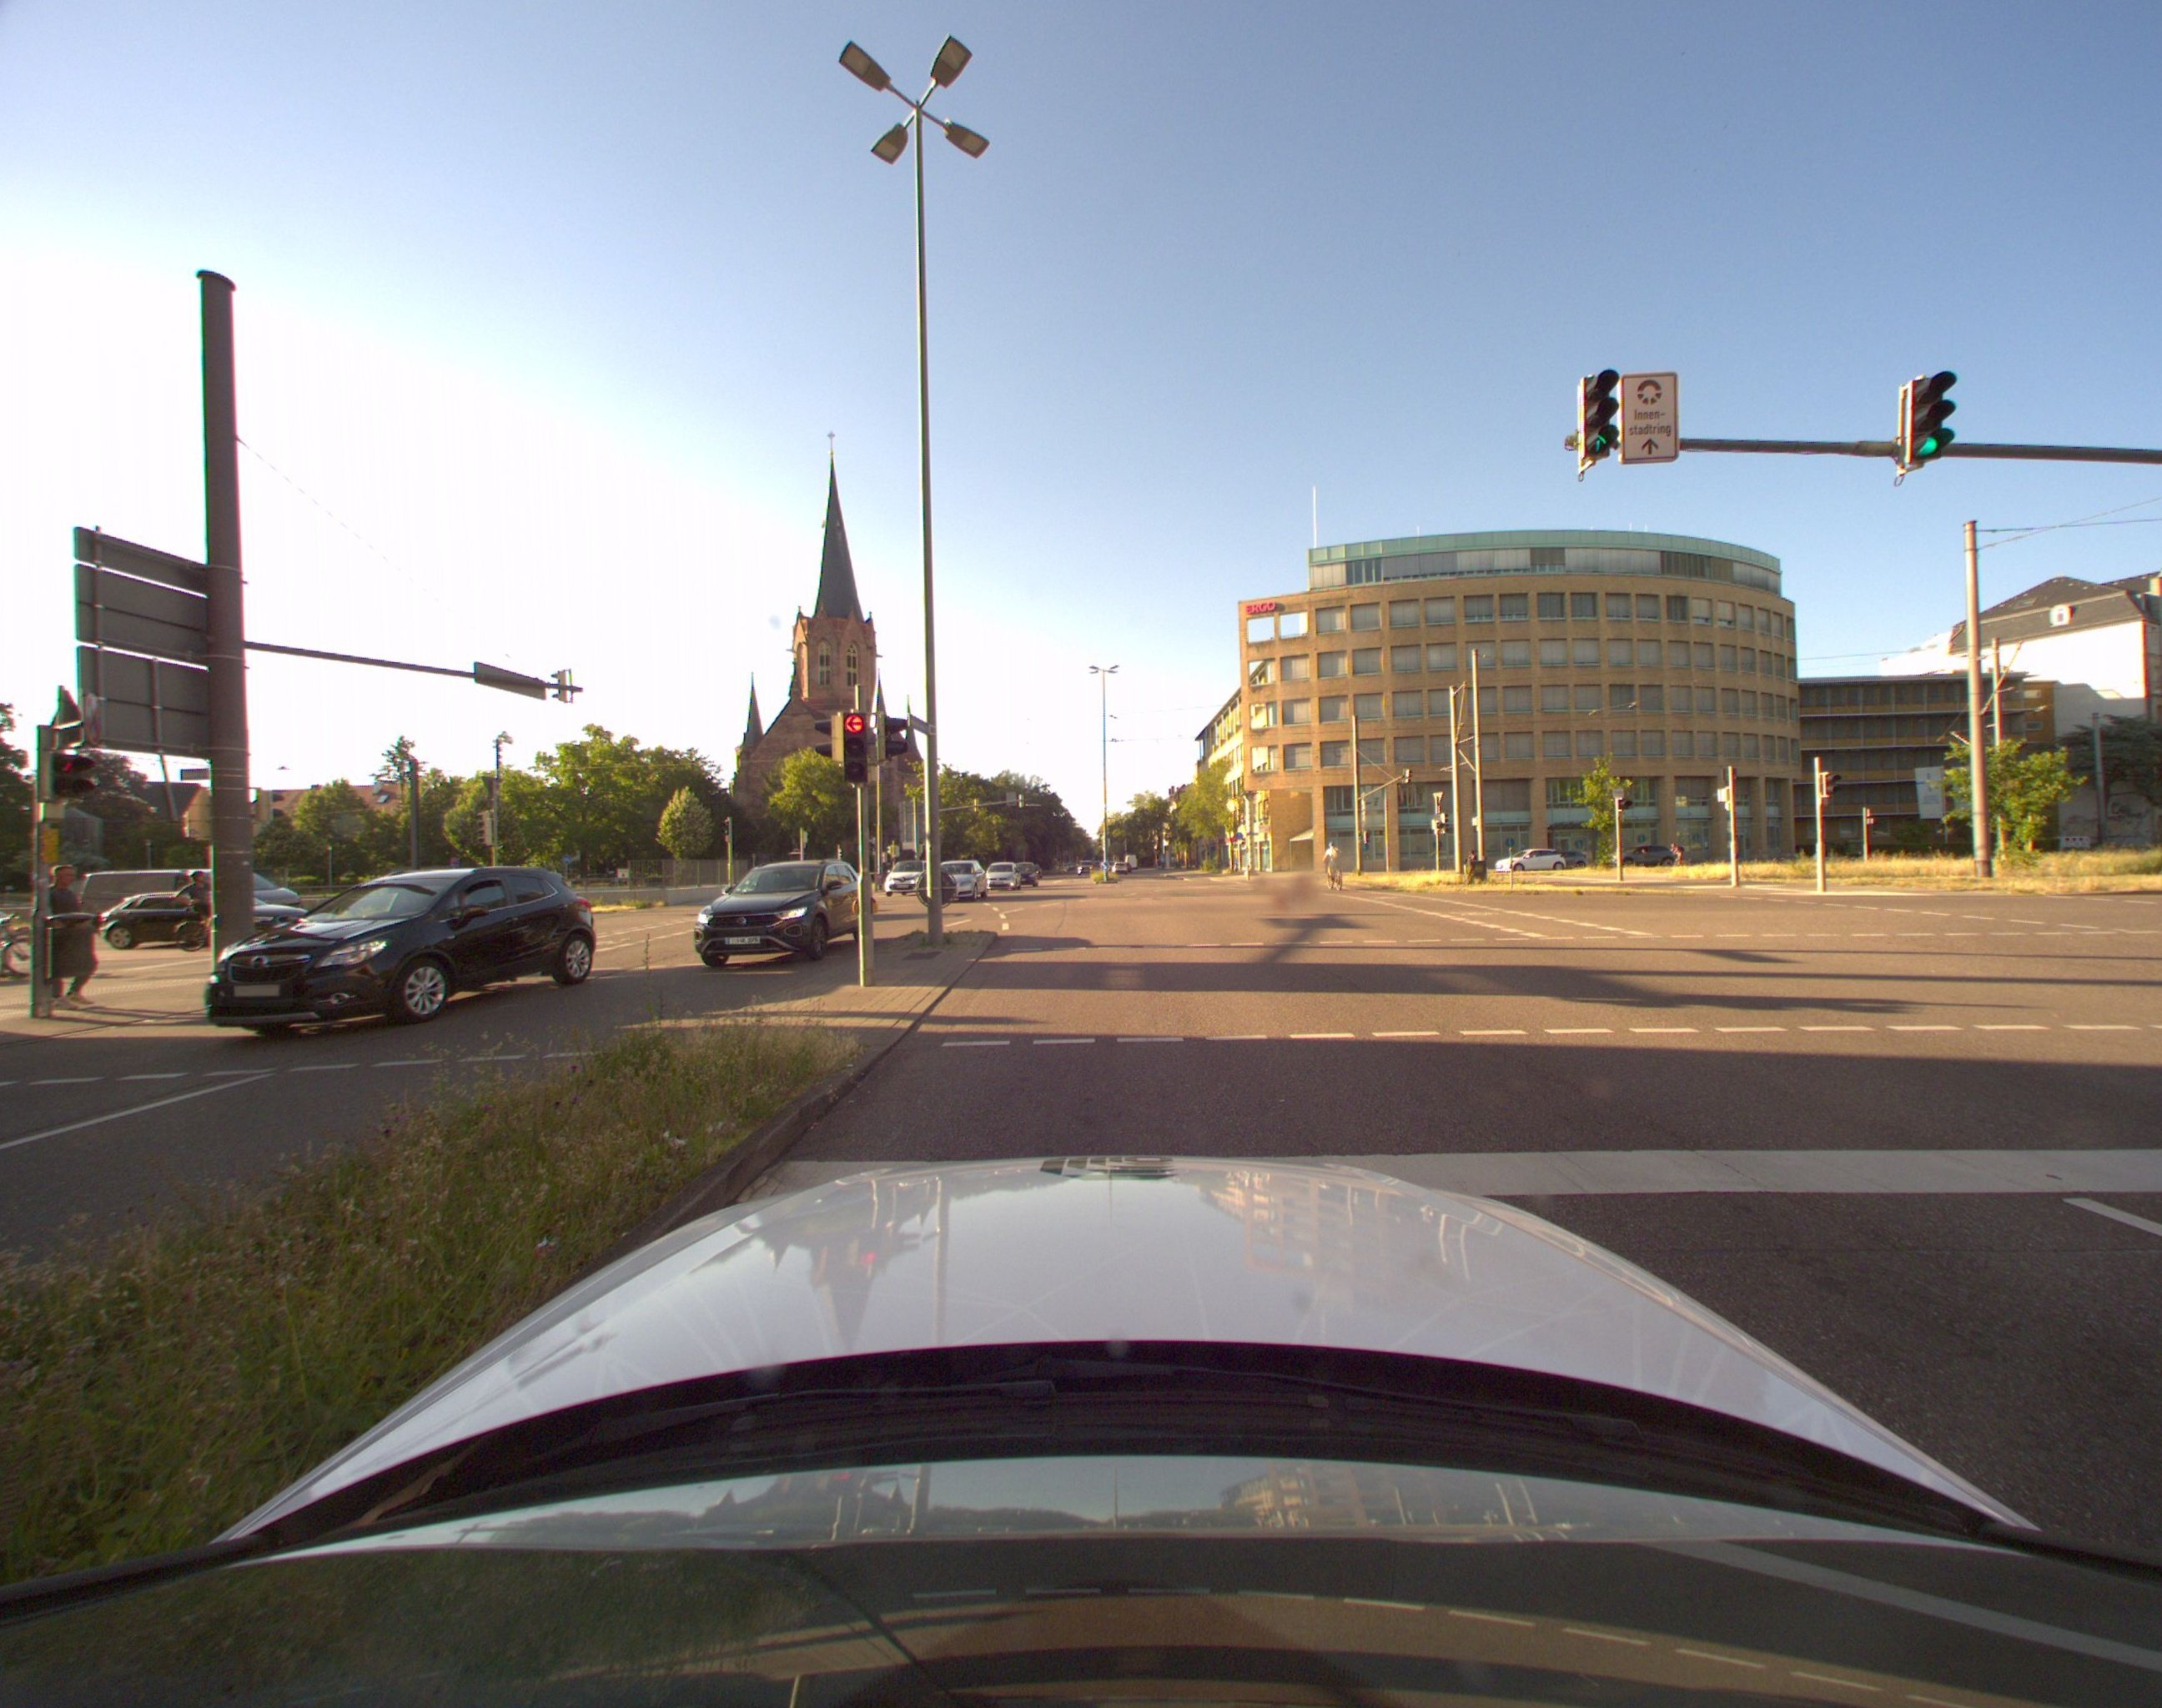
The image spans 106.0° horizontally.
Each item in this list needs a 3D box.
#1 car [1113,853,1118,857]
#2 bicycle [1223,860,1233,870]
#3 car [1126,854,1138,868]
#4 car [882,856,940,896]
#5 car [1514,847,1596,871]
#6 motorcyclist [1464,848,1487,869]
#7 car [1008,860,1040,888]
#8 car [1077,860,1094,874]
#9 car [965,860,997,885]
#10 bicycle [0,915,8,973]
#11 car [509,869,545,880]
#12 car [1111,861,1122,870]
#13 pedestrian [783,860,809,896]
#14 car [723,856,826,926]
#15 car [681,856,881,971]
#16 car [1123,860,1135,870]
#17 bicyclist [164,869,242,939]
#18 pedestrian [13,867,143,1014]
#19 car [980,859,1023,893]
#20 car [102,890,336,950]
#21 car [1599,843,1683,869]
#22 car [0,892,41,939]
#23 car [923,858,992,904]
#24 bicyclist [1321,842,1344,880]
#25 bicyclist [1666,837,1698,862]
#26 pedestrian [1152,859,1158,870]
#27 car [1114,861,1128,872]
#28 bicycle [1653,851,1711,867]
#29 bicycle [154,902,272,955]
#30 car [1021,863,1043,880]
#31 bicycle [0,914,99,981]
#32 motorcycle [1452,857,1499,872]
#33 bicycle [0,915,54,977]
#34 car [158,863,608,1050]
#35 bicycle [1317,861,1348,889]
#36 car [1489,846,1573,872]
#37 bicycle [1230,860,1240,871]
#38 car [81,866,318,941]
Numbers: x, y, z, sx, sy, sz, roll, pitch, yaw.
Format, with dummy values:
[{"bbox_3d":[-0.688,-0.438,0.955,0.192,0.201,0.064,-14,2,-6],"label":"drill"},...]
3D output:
[{"bbox_3d":[10.854,0.411,255.436,1.588,1.267,3.268,-2,0,2],"label":"car"},{"bbox_3d":[15.264,1.173,84.566,0.644,0.994,2.081,-2,-1,1],"label":"bicycle"},{"bbox_3d":[9.102,1.322,144.721,1.986,2.440,4.002,0,-1,2],"label":"car"},{"bbox_3d":[-7.493,0.932,36.233,1.669,1.544,3.639,-3,0,1],"label":"car"},{"bbox_3d":[32.721,0.352,56.319,4.464,1.537,1.987,-2,-1,2],"label":"car"},{"bbox_3d":[27.260,0.323,56.344,1.061,1.435,1.032,-2,-1,0],"label":"motorcyclist"},{"bbox_3d":[-3.560,1.241,51.228,1.572,1.544,3.478,-3,0,1],"label":"car"},{"bbox_3d":[0.603,1.626,100.261,1.986,1.724,5.031,-2,-1,1],"label":"car"},{"bbox_3d":[-6.930,1.260,56.760,1.572,1.544,3.478,-3,0,1],"label":"car"},{"bbox_3d":[-20.364,1.666,14.012,0.732,1.051,2.300,-2,-1,1],"label":"bicycle"},{"bbox_3d":[-91.845,3.416,135.000,4.450,1.571,1.993,-2,-1,-10],"label":"car"},{"bbox_3d":[5.563,1.790,128.092,1.588,1.267,3.268,-2,0,2],"label":"car"},{"bbox_3d":[-14.265,1.194,40.741,0.962,1.739,0.812,-1,-1,-1],"label":"pedestrian"},{"bbox_3d":[-7.864,0.904,21.116,1.530,1.593,2.807,-3,0,0],"label":"car"},{"bbox_3d":[-4.806,0.854,13.714,1.669,1.544,4.104,-3,0,1],"label":"car"},{"bbox_3d":[6.833,1.588,115.539,1.588,1.267,3.268,-2,0,2],"label":"car"},{"bbox_3d":[-21.068,1.180,19.568,0.733,1.598,0.963,-3,0,1],"label":"bicyclist"},{"bbox_3d":[-12.785,1.064,10.409,0.605,1.787,0.813,1,0,5],"label":"pedestrian"},{"bbox_3d":[-4.038,1.073,42.030,1.669,1.544,3.807,-3,0,1],"label":"car"},{"bbox_3d":[-22.654,1.705,21.540,4.175,1.312,1.800,-2,-1,-1],"label":"car"},{"bbox_3d":[35.196,0.109,51.269,4.038,1.492,1.820,-2,-1,0],"label":"car"},{"bbox_3d":[-35.043,1.964,24.973,3.889,1.374,1.800,-2,-1,-1],"label":"car"},{"bbox_3d":[-4.427,0.923,29.678,1.702,1.425,4.104,-3,0,1],"label":"car"},{"bbox_3d":[9.043,0.250,29.314,0.590,1.369,0.930,0,0,2],"label":"bicyclist"},{"bbox_3d":[39.720,-0.298,53.832,1.219,1.572,1.154,-2,-1,0],"label":"bicyclist"},{"bbox_3d":[11.928,1.699,130.599,0.844,1.803,0.776,-2,0,1],"label":"pedestrian"},{"bbox_3d":[4.834,1.524,97.955,1.588,1.267,3.268,-2,0,2],"label":"car"},{"bbox_3d":[39.692,0.330,53.827,2.951,1.000,1.154,-2,-1,-1],"label":"bicycle"},{"bbox_3d":[-20.817,1.784,19.568,1.770,1.097,0.952,-3,0,1],"label":"bicycle"},{"bbox_3d":[-5.314,1.906,89.534,1.986,1.724,4.593,-2,-1,1],"label":"car"},{"bbox_3d":[-18.746,1.642,14.069,0.732,1.051,2.300,-2,0,1],"label":"bicycle"},{"bbox_3d":[27.257,0.730,56.337,2.708,0.964,1.032,-2,-1,0],"label":"motorcycle"},{"bbox_3d":[-19.552,1.664,14.047,0.732,1.051,2.300,-2,-1,1],"label":"bicycle"},{"bbox_3d":[-7.803,0.995,9.768,1.713,1.628,4.103,-3,0,1],"label":"car"},{"bbox_3d":[9.063,0.745,29.417,0.590,0.943,1.979,0,0,2],"label":"bicycle"},{"bbox_3d":[28.318,0.302,51.322,4.150,1.492,1.994,-2,-1,-1],"label":"car"},{"bbox_3d":[15.163,1.137,80.177,0.644,0.994,2.081,-2,-1,1],"label":"bicycle"},{"bbox_3d":[-26.609,1.445,24.722,4.908,2.014,1.999,-2,-1,-1],"label":"car"}]
